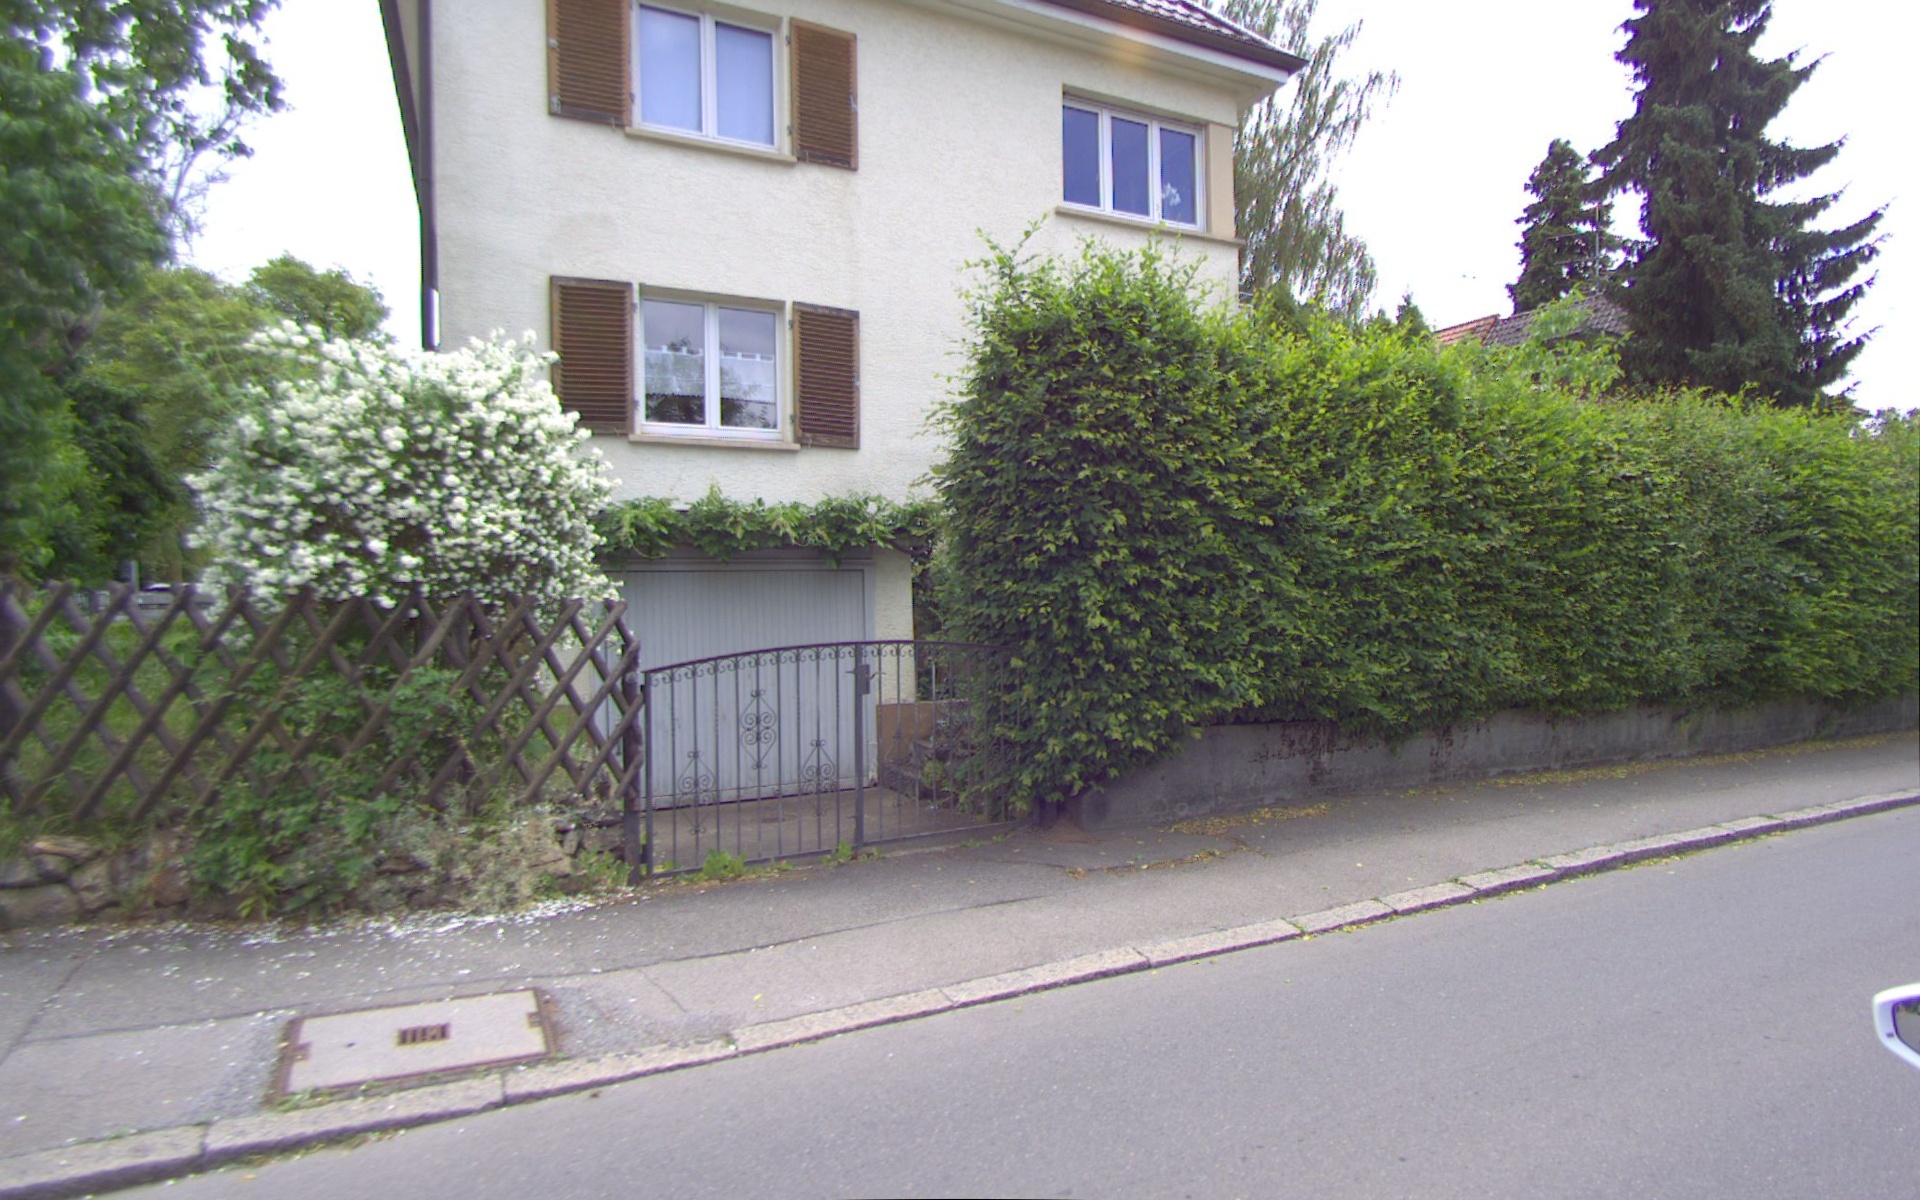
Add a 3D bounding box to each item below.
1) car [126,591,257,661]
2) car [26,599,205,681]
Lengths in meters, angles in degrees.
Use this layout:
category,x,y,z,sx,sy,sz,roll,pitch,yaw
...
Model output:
category,x,y,z,sx,sy,sz,roll,pitch,yaw
car,-18.802,0.609,24.771,1.746,1.594,3.854,1,-1,-25
car,-16.311,0.716,19.628,1.717,1.427,3.809,1,-1,-25
